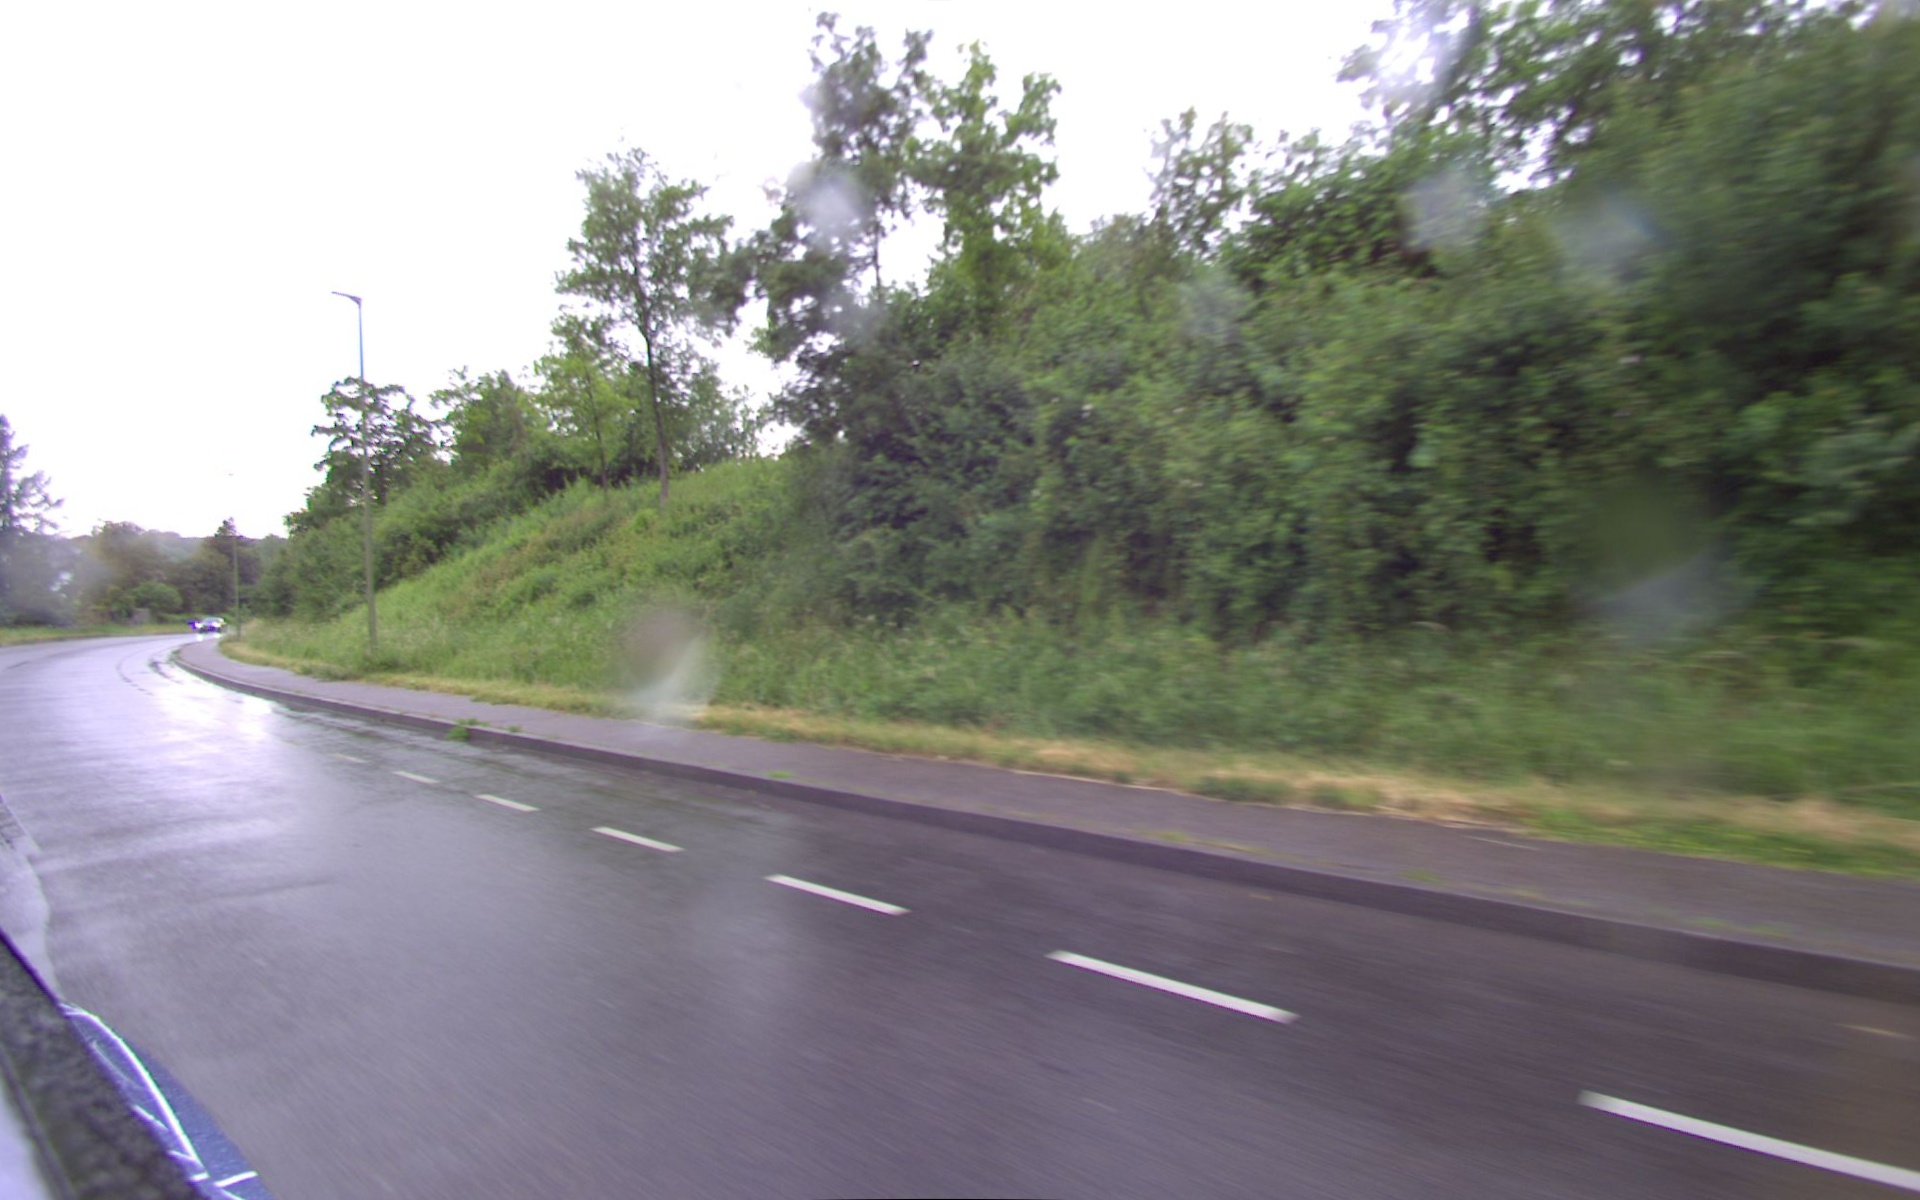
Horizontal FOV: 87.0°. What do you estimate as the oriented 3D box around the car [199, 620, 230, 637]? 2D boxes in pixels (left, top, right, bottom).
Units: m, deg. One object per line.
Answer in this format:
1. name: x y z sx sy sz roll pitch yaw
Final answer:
1. car: -72.203 2.760 98.080 1.848 1.618 4.013 1 -2 -28
